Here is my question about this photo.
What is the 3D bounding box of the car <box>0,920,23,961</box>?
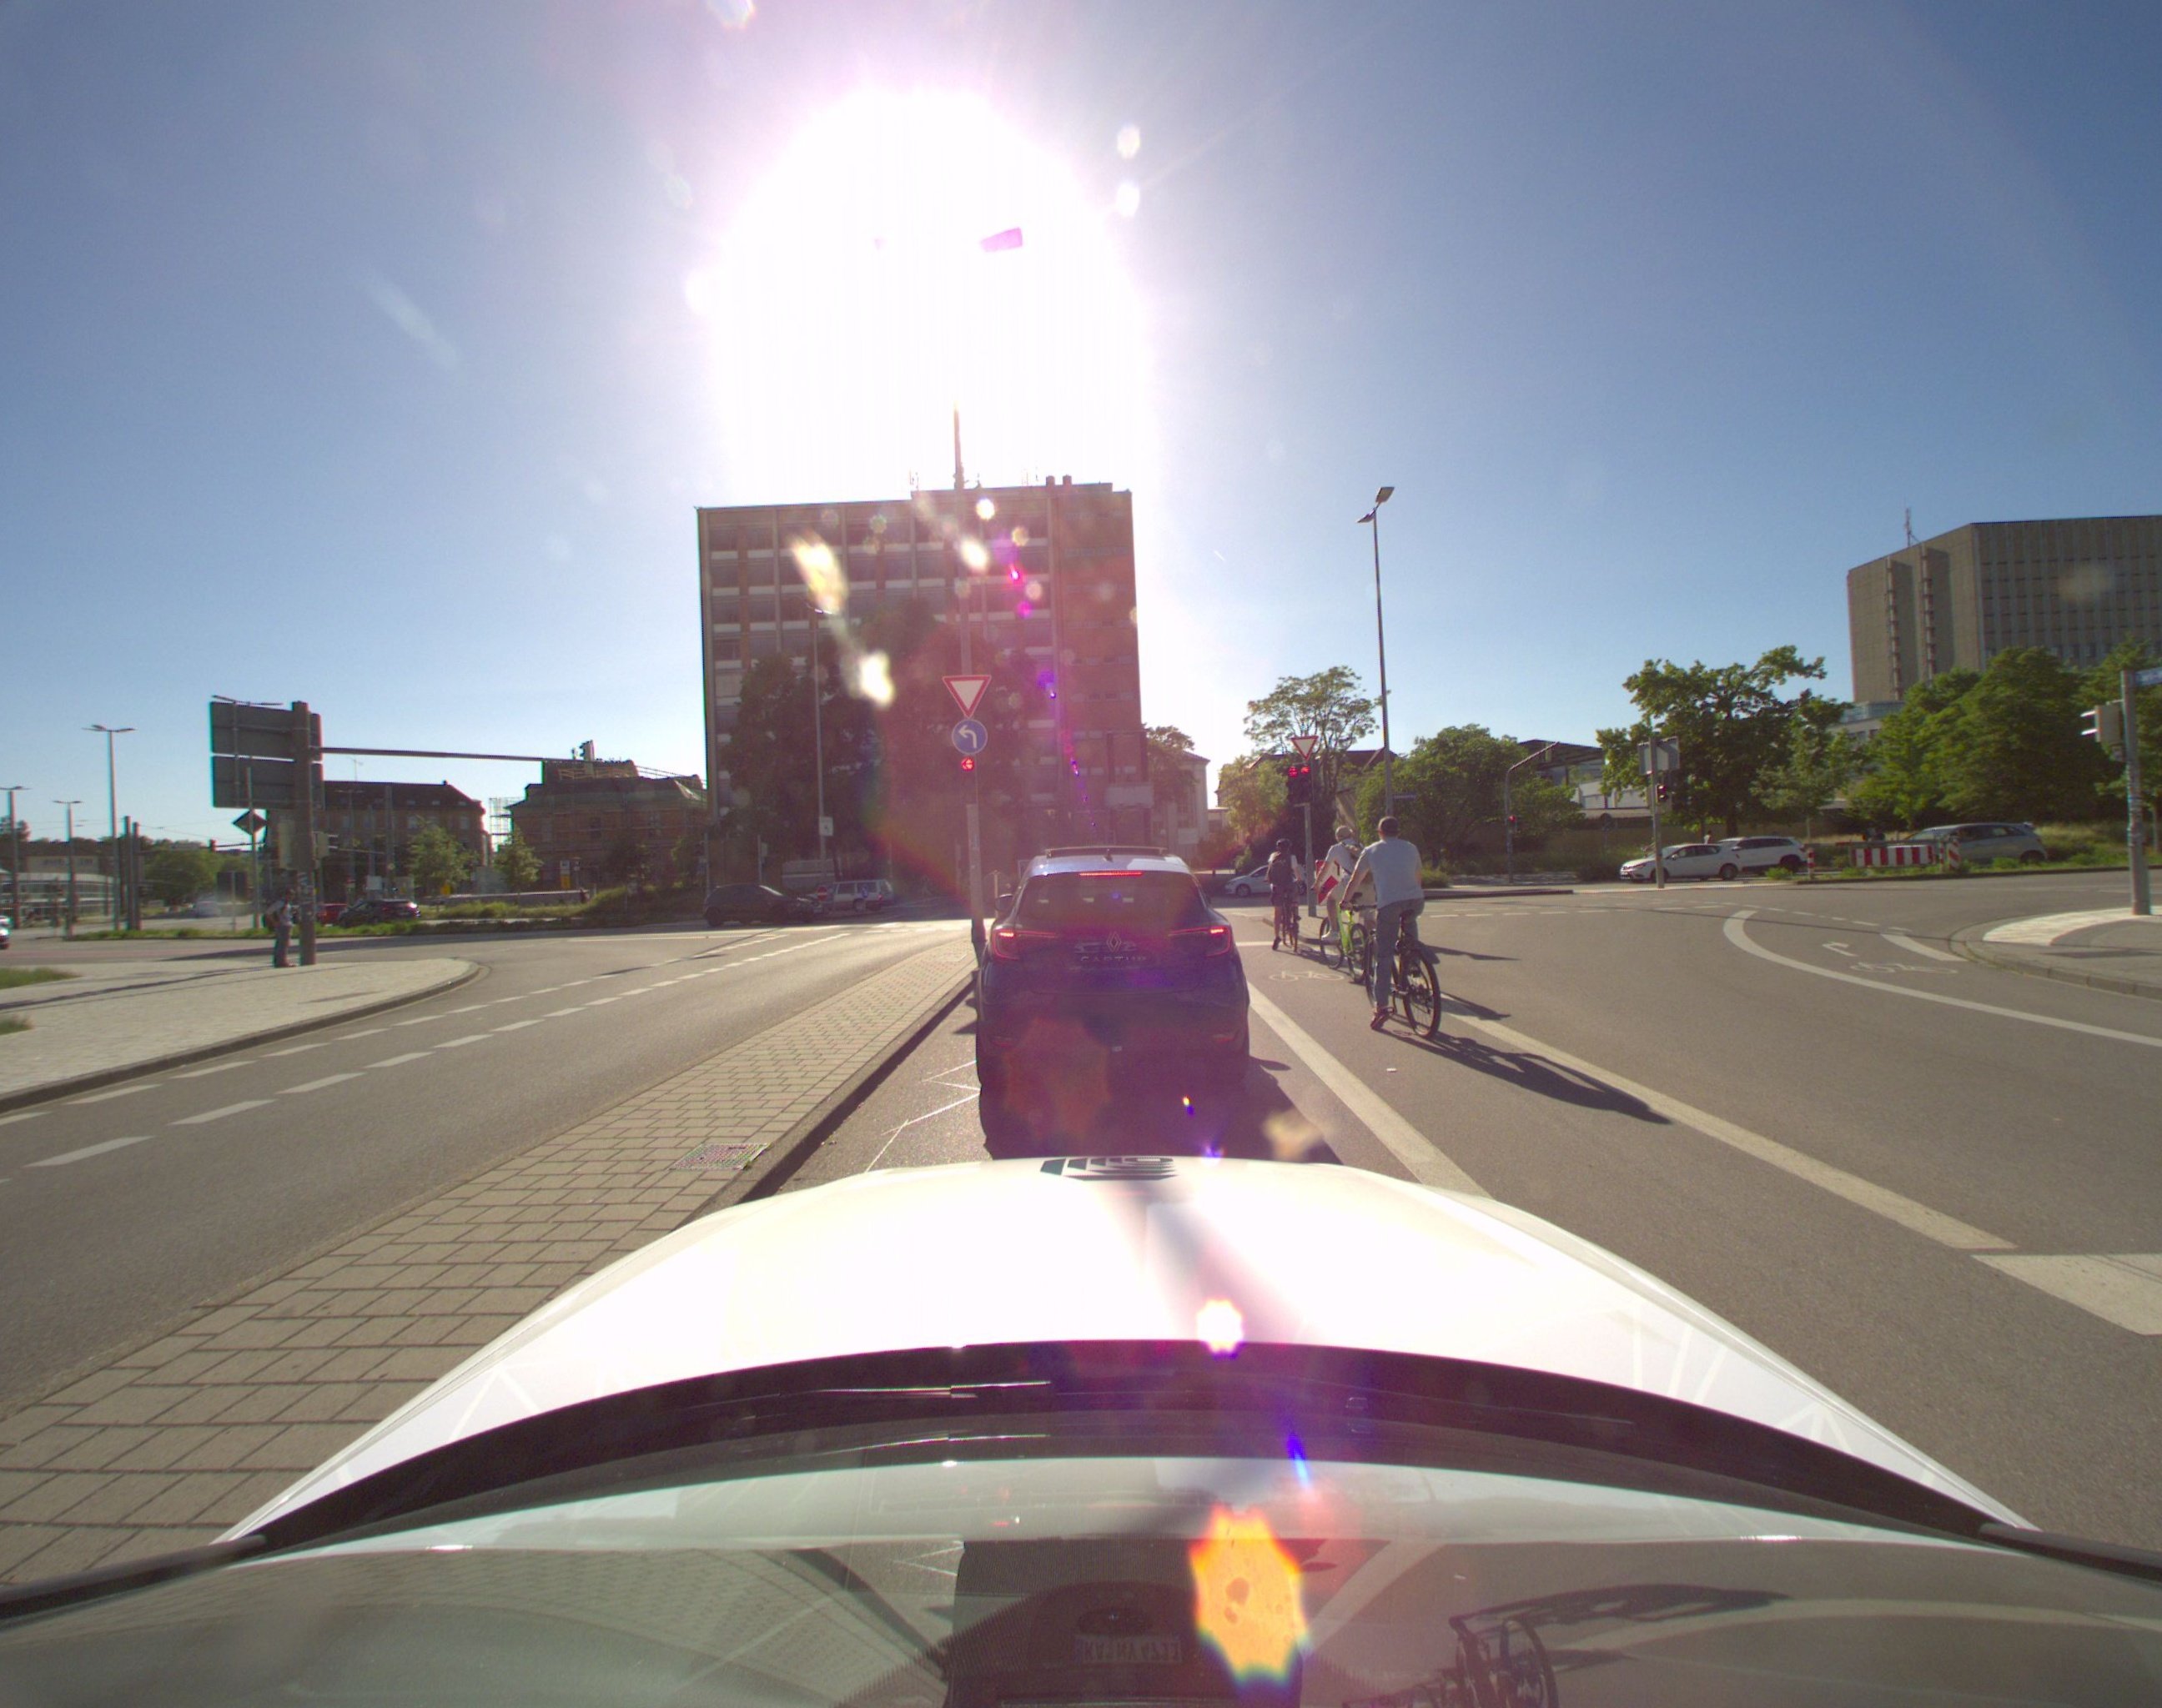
[{"bbox_3d":[-50.662,4.001,37.116,3.951,1.790,2.011,-3,-1,23],"label":"car"}]

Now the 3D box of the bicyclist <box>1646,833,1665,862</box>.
[{"bbox_3d":[28.081,-0.322,39.786,0.517,1.368,0.578,-2,-1,12],"label":"bicyclist"}]

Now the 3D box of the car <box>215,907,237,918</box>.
[{"bbox_3d":[-138.375,9.431,131.796,2.114,1.581,4.798,-3,0,-44],"label":"car"}]

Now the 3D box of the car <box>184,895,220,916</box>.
[{"bbox_3d":[-118.056,6.900,109.453,6.870,2.547,3.031,-3,-1,44],"label":"car"}]

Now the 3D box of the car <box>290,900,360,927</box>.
[{"bbox_3d":[-47.954,3.775,51.652,3.771,1.518,2.012,-3,-1,27],"label":"car"}]

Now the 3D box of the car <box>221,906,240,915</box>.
[{"bbox_3d":[-153.036,10.101,146.574,2.078,1.439,4.007,-2,-1,-44],"label":"car"}]

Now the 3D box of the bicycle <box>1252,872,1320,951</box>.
[{"bbox_3d":[3.267,0.880,13.120,0.613,1.138,1.826,-2,0,0],"label":"bicycle"}]

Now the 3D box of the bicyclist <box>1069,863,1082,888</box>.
[{"bbox_3d":[-0.309,1.200,45.589,0.633,1.412,0.650,-2,-1,6],"label":"bicyclist"}]

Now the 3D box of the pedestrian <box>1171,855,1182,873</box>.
[{"bbox_3d":[10.797,1.098,92.030,1.144,2.013,0.954,-2,-1,8],"label":"pedestrian"}]

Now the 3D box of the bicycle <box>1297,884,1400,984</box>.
[{"bbox_3d":[3.230,0.922,10.006,0.669,1.050,1.844,0,0,1],"label":"bicycle"}]

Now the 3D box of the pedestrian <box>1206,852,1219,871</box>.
[{"bbox_3d":[13.784,0.783,85.495,1.152,2.013,1.165,-2,-1,2],"label":"pedestrian"}]

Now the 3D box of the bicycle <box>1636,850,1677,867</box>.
[{"bbox_3d":[28.101,0.234,39.780,1.483,0.777,0.571,-3,-1,12],"label":"bicycle"}]

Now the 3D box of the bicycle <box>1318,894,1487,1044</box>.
[{"bbox_3d":[2.798,0.950,7.338,0.745,1.050,1.903,-3,0,1],"label":"bicycle"}]

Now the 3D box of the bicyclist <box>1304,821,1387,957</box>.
[{"bbox_3d":[3.222,0.408,9.996,0.672,1.583,1.081,0,0,1],"label":"bicyclist"}]

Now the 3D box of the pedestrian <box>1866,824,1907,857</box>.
[{"bbox_3d":[39.336,-0.654,39.794,1.069,1.521,0.880,-2,-1,6],"label":"pedestrian"}]

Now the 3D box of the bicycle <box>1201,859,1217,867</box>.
[{"bbox_3d":[15.568,1.111,99.019,1.764,0.893,0.766,-2,-1,2],"label":"bicycle"}]

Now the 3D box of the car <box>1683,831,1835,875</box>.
[{"bbox_3d":[28.320,-0.050,34.147,4.478,1.606,2.005,-2,0,8],"label":"car"}]

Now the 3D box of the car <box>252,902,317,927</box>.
[{"bbox_3d":[-53.573,4.083,54.767,3.771,1.518,2.012,-3,-1,27],"label":"car"}]

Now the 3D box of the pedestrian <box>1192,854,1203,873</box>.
[{"bbox_3d":[13.343,1.088,93.471,1.144,2.013,0.954,-2,-1,8],"label":"pedestrian"}]

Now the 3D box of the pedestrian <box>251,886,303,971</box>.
[{"bbox_3d":[-18.170,1.667,18.407,0.673,1.855,0.608,-3,-1,25],"label":"pedestrian"}]

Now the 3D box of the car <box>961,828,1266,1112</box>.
[{"bbox_3d":[0.225,0.684,6.751,1.788,1.655,3.853,-1,0,1],"label":"car"}]

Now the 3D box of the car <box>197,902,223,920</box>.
[{"bbox_3d":[-106.843,6.995,99.862,4.951,2.013,2.085,-3,-1,42],"label":"car"}]

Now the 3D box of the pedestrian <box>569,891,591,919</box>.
[{"bbox_3d":[-37.426,3.774,60.861,0.816,2.013,1.021,-3,-1,27],"label":"pedestrian"}]

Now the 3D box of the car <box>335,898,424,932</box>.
[{"bbox_3d":[-37.024,3.218,42.984,3.953,1.570,1.845,-3,-1,20],"label":"car"}]

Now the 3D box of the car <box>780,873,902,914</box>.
[{"bbox_3d":[-10.840,1.787,36.909,4.835,1.593,1.943,-2,-1,8],"label":"car"}]

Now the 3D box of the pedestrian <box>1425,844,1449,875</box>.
[{"bbox_3d":[18.912,0.303,43.260,0.974,1.604,0.830,-3,-1,15],"label":"pedestrian"}]

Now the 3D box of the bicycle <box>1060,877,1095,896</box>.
[{"bbox_3d":[-0.196,1.813,45.590,1.855,0.958,0.625,-2,-1,7],"label":"bicycle"}]

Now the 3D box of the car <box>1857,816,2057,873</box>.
[{"bbox_3d":[28.077,-0.293,26.231,4.103,1.606,1.915,-2,0,7],"label":"car"}]

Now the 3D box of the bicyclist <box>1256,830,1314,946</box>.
[{"bbox_3d":[3.258,0.532,13.067,0.674,1.785,0.939,-1,-1,0],"label":"bicyclist"}]

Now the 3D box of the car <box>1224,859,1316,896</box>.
[{"bbox_3d":[8.587,1.090,37.117,3.927,1.491,1.817,-3,-2,13],"label":"car"}]

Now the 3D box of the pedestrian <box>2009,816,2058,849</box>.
[{"bbox_3d":[45.959,-1.036,39.294,1.123,1.521,0.992,-2,-1,5],"label":"pedestrian"}]

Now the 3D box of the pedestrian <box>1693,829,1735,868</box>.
[{"bbox_3d":[31.831,-0.272,40.967,1.288,1.855,0.969,-3,-1,13],"label":"pedestrian"}]

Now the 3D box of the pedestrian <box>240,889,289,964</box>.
[{"bbox_3d":[-19.236,1.699,19.191,0.627,1.697,0.608,-3,-1,25],"label":"pedestrian"}]

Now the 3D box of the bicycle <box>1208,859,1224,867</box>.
[{"bbox_3d":[15.712,1.057,94.649,1.764,0.898,0.766,-2,-1,2],"label":"bicycle"}]

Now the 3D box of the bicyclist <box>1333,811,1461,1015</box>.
[{"bbox_3d":[2.778,0.495,7.251,0.737,1.674,0.865,-2,-1,0],"label":"bicyclist"}]

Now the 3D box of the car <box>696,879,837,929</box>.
[{"bbox_3d":[-10.697,1.704,27.818,3.959,1.389,2.007,-4,-1,13],"label":"car"}]

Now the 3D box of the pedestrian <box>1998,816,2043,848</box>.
[{"bbox_3d":[46.247,-1.079,40.098,1.138,1.521,0.880,-2,-1,5],"label":"pedestrian"}]

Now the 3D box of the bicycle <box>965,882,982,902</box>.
[{"bbox_3d":[-5.830,2.077,44.095,0.699,1.007,1.859,-3,-3,-13],"label":"bicycle"}]

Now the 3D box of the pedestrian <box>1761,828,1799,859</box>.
[{"bbox_3d":[35.115,-0.511,40.939,1.078,1.521,0.933,-2,-1,11],"label":"pedestrian"}]

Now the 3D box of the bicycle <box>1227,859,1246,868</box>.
[{"bbox_3d":[15.820,0.947,82.837,1.770,0.823,0.763,-2,-1,-9],"label":"bicycle"}]

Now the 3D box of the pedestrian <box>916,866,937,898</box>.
[{"bbox_3d":[-9.453,1.712,49.901,0.926,1.855,0.809,-3,-1,11],"label":"pedestrian"}]

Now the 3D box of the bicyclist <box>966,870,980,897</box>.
[{"bbox_3d":[-5.869,1.595,44.170,0.648,1.412,0.635,-2,-3,-14],"label":"bicyclist"}]

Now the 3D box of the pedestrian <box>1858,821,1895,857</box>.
[{"bbox_3d":[39.959,-0.747,40.900,0.955,1.732,0.930,-3,-1,17],"label":"pedestrian"}]

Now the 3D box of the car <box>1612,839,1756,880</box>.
[{"bbox_3d":[23.280,0.234,31.591,3.974,1.361,2.004,-3,-2,7],"label":"car"}]
